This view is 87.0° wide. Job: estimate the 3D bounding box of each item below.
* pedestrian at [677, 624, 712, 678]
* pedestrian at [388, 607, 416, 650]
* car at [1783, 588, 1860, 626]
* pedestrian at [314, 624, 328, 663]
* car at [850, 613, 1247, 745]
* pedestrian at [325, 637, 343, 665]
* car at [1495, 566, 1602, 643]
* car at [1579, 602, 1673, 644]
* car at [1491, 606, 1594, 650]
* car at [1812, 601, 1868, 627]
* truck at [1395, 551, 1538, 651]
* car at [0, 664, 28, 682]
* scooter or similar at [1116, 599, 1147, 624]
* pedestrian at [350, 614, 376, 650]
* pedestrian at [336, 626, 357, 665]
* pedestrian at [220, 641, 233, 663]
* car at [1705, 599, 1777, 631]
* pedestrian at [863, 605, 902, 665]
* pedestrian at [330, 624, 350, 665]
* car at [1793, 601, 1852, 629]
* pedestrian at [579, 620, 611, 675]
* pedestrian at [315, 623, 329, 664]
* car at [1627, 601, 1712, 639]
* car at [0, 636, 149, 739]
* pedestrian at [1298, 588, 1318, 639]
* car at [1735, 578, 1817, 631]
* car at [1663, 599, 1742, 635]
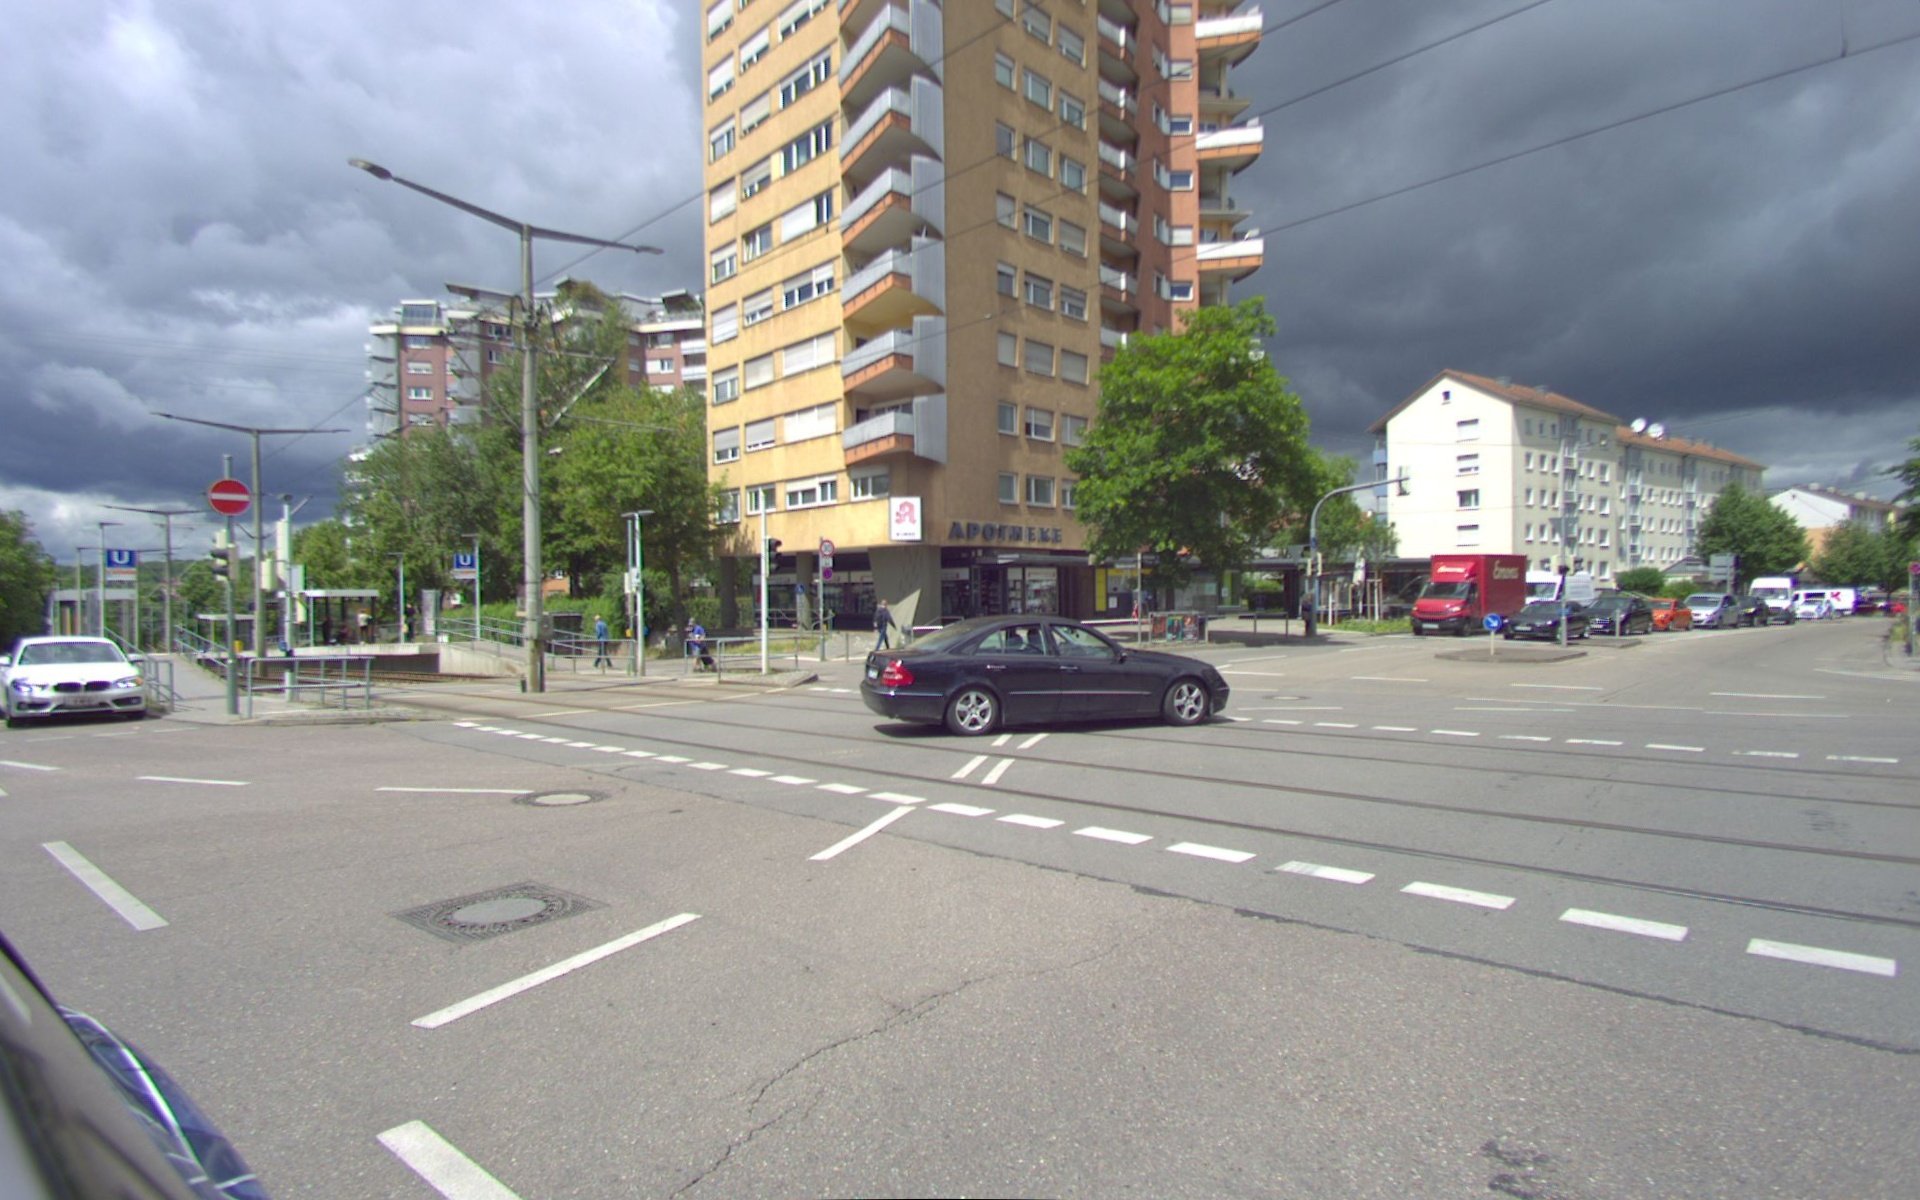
[{"bbox_3d":[-7.709,1.478,29.378,0.649,1.525,0.710,-3,-2,44],"label":"pedestrian"},{"bbox_3d":[-23.602,1.191,42.830,0.747,1.787,0.853,-3,-2,43],"label":"pedestrian"},{"bbox_3d":[60.225,0.529,70.792,1.733,2.496,3.825,0,-2,-41],"label":"car"},{"bbox_3d":[-34.340,2.338,54.407,0.558,2.029,0.510,-3,-2,44],"label":"pedestrian"},{"bbox_3d":[1.048,0.926,12.882,4.596,1.409,1.983,-1,-2,-14],"label":"car"},{"bbox_3d":[-32.129,2.602,51.957,0.658,1.426,0.637,-3,-2,44],"label":"pedestrian"},{"bbox_3d":[26.778,0.229,45.925,6.204,3.324,2.004,0,-2,-39],"label":"car"},{"bbox_3d":[26.936,0.926,40.894,3.935,1.614,2.004,0,-2,-38],"label":"car"},{"bbox_3d":[21.219,0.989,36.830,3.937,1.506,2.003,0,-2,-40],"label":"car"},{"bbox_3d":[57.123,0.925,65.660,3.935,1.614,2.004,0,-2,-38],"label":"car"},{"bbox_3d":[20.516,0.075,40.820,6.989,3.702,2.550,0,-2,-41],"label":"truck"},{"bbox_3d":[-73.810,5.697,78.813,1.779,1.224,4.026,0,-2,-42],"label":"car"},{"bbox_3d":[7.685,0.524,45.370,0.545,1.102,1.729,-3,-2,40],"label":"scooter or similar"},{"bbox_3d":[-27.152,1.437,46.017,0.747,1.618,0.853,-3,-2,43],"label":"pedestrian"},{"bbox_3d":[-30.621,2.260,50.533,0.573,1.946,0.760,-3,-2,42],"label":"pedestrian"},{"bbox_3d":[-56.585,3.995,78.067,0.763,1.719,0.767,0,-2,-37],"label":"pedestrian"},{"bbox_3d":[40.569,0.774,52.526,3.935,1.614,2.004,0,-2,-38],"label":"car"},{"bbox_3d":[-2.554,1.152,33.398,0.853,1.949,0.908,-3,-2,43],"label":"pedestrian"},{"bbox_3d":[-31.214,2.255,50.957,0.584,2.029,0.769,-3,-2,44],"label":"pedestrian"},{"bbox_3d":[53.419,0.920,62.659,3.935,1.614,2.004,0,-2,-38],"label":"car"},{"bbox_3d":[-10.937,1.405,30.355,0.709,1.609,0.912,-1,-1,-8],"label":"pedestrian"},{"bbox_3d":[-34.002,2.338,53.908,0.524,2.158,0.609,0,-2,-42],"label":"pedestrian"},{"bbox_3d":[31.610,0.886,45.043,3.935,1.614,2.004,0,-2,-38],"label":"car"},{"bbox_3d":[-15.251,1.448,17.105,4.275,1.462,1.770,-5,-3,43],"label":"car"},{"bbox_3d":[12.929,0.506,37.608,0.637,1.825,0.884,-2,-2,17],"label":"pedestrian"},{"bbox_3d":[45.651,0.280,56.585,4.818,2.809,2.441,0,-2,-38],"label":"car"},{"bbox_3d":[35.385,0.794,48.213,3.935,1.614,2.004,0,-2,-38],"label":"car"}]
